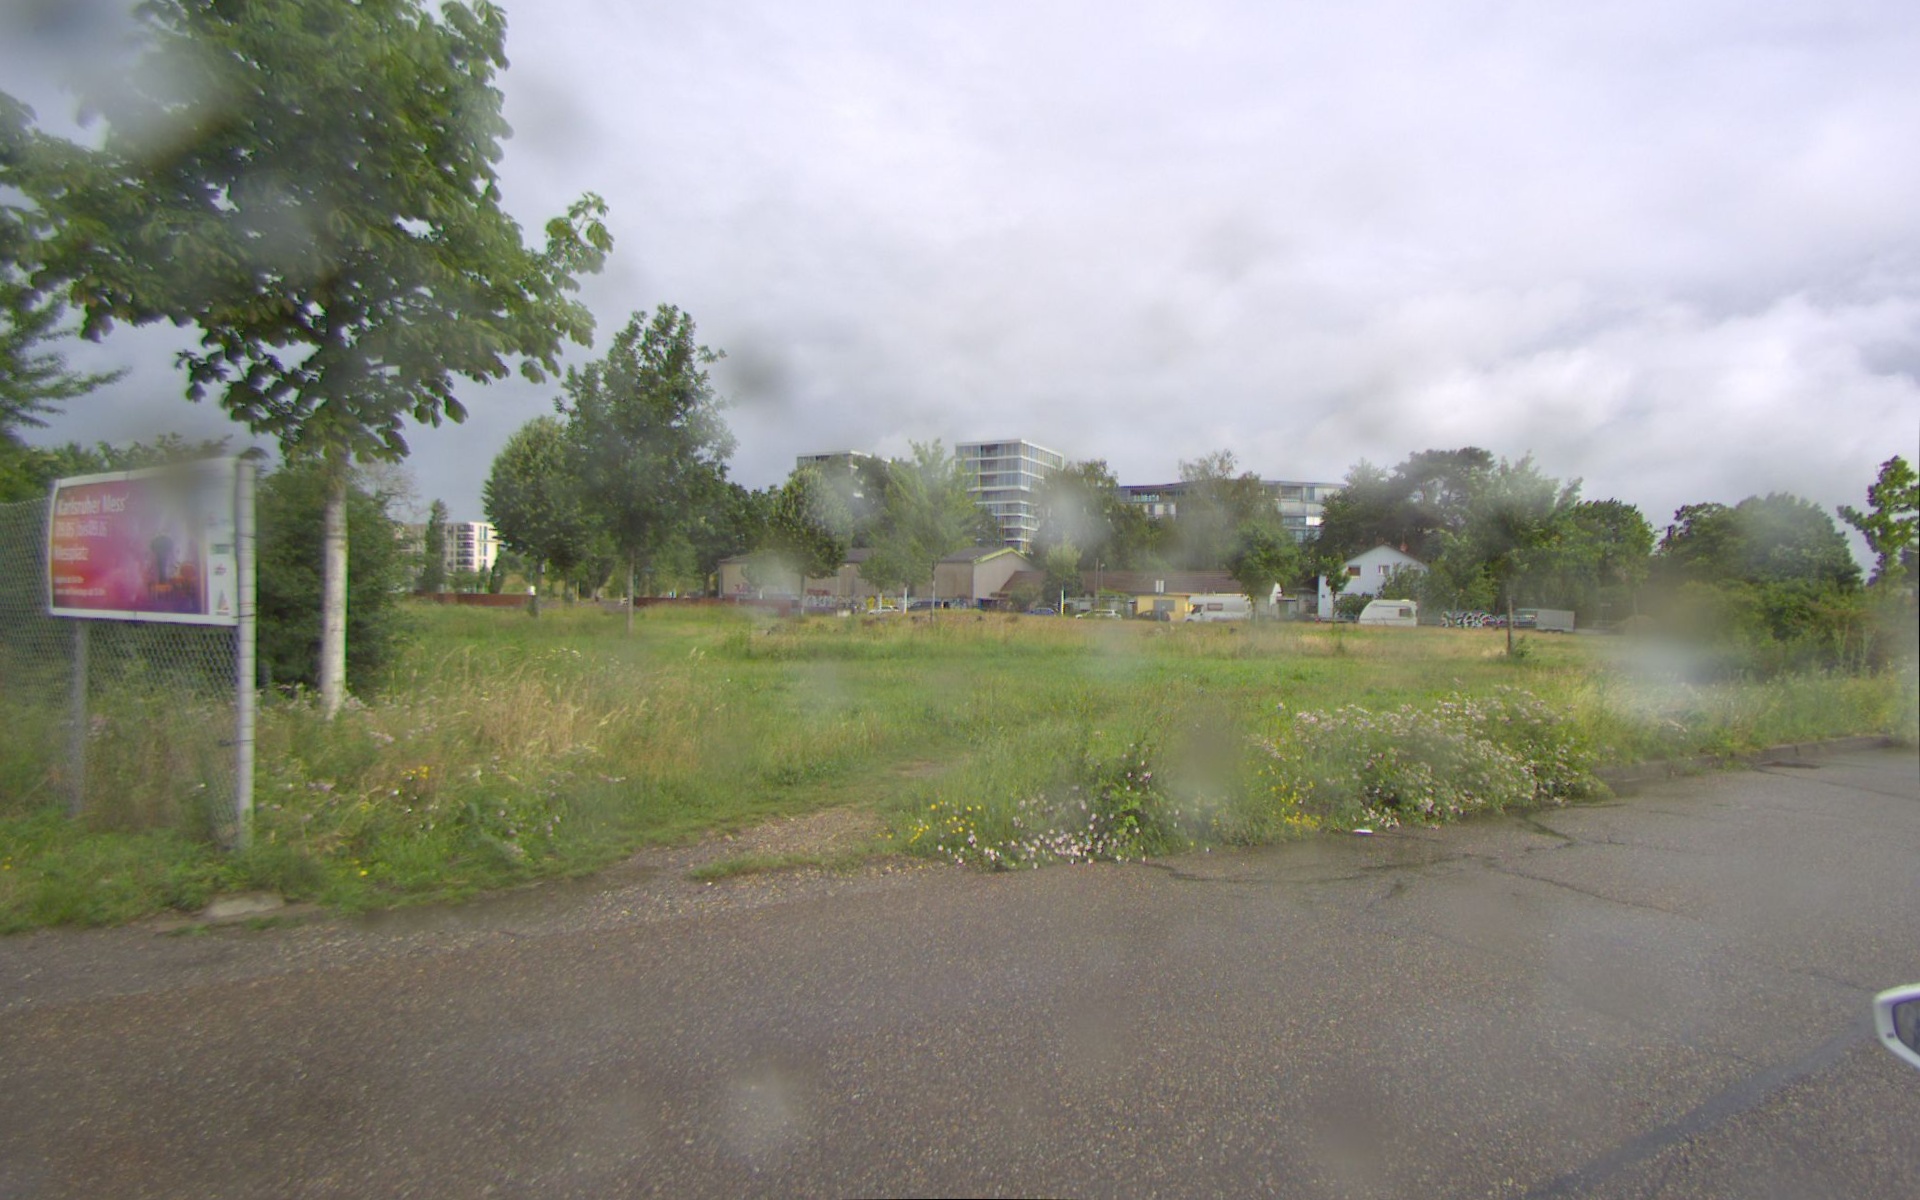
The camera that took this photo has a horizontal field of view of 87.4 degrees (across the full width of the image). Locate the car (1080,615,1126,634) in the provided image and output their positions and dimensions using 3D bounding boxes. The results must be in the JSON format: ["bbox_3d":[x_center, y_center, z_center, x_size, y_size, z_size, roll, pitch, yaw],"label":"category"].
[{"bbox_3d":[13.743,2.347,96.352,3.929,1.726,1.878,1,0,30],"label":"car"}]

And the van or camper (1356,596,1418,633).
[{"bbox_3d":[35.649,1.176,83.907,4.436,2.985,2.479,1,0,31],"label":"van or camper"}]

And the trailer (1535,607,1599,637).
[{"bbox_3d":[47.214,1.723,78.232,4.038,2.117,1.842,3,1,28],"label":"trailer"}]

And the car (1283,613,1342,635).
[{"bbox_3d":[30.285,2.022,86.364,4.439,1.799,1.996,1,0,31],"label":"car"}]

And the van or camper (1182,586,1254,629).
[{"bbox_3d":[23.242,0.649,90.664,5.748,3.794,2.649,1,0,31],"label":"van or camper"}]
